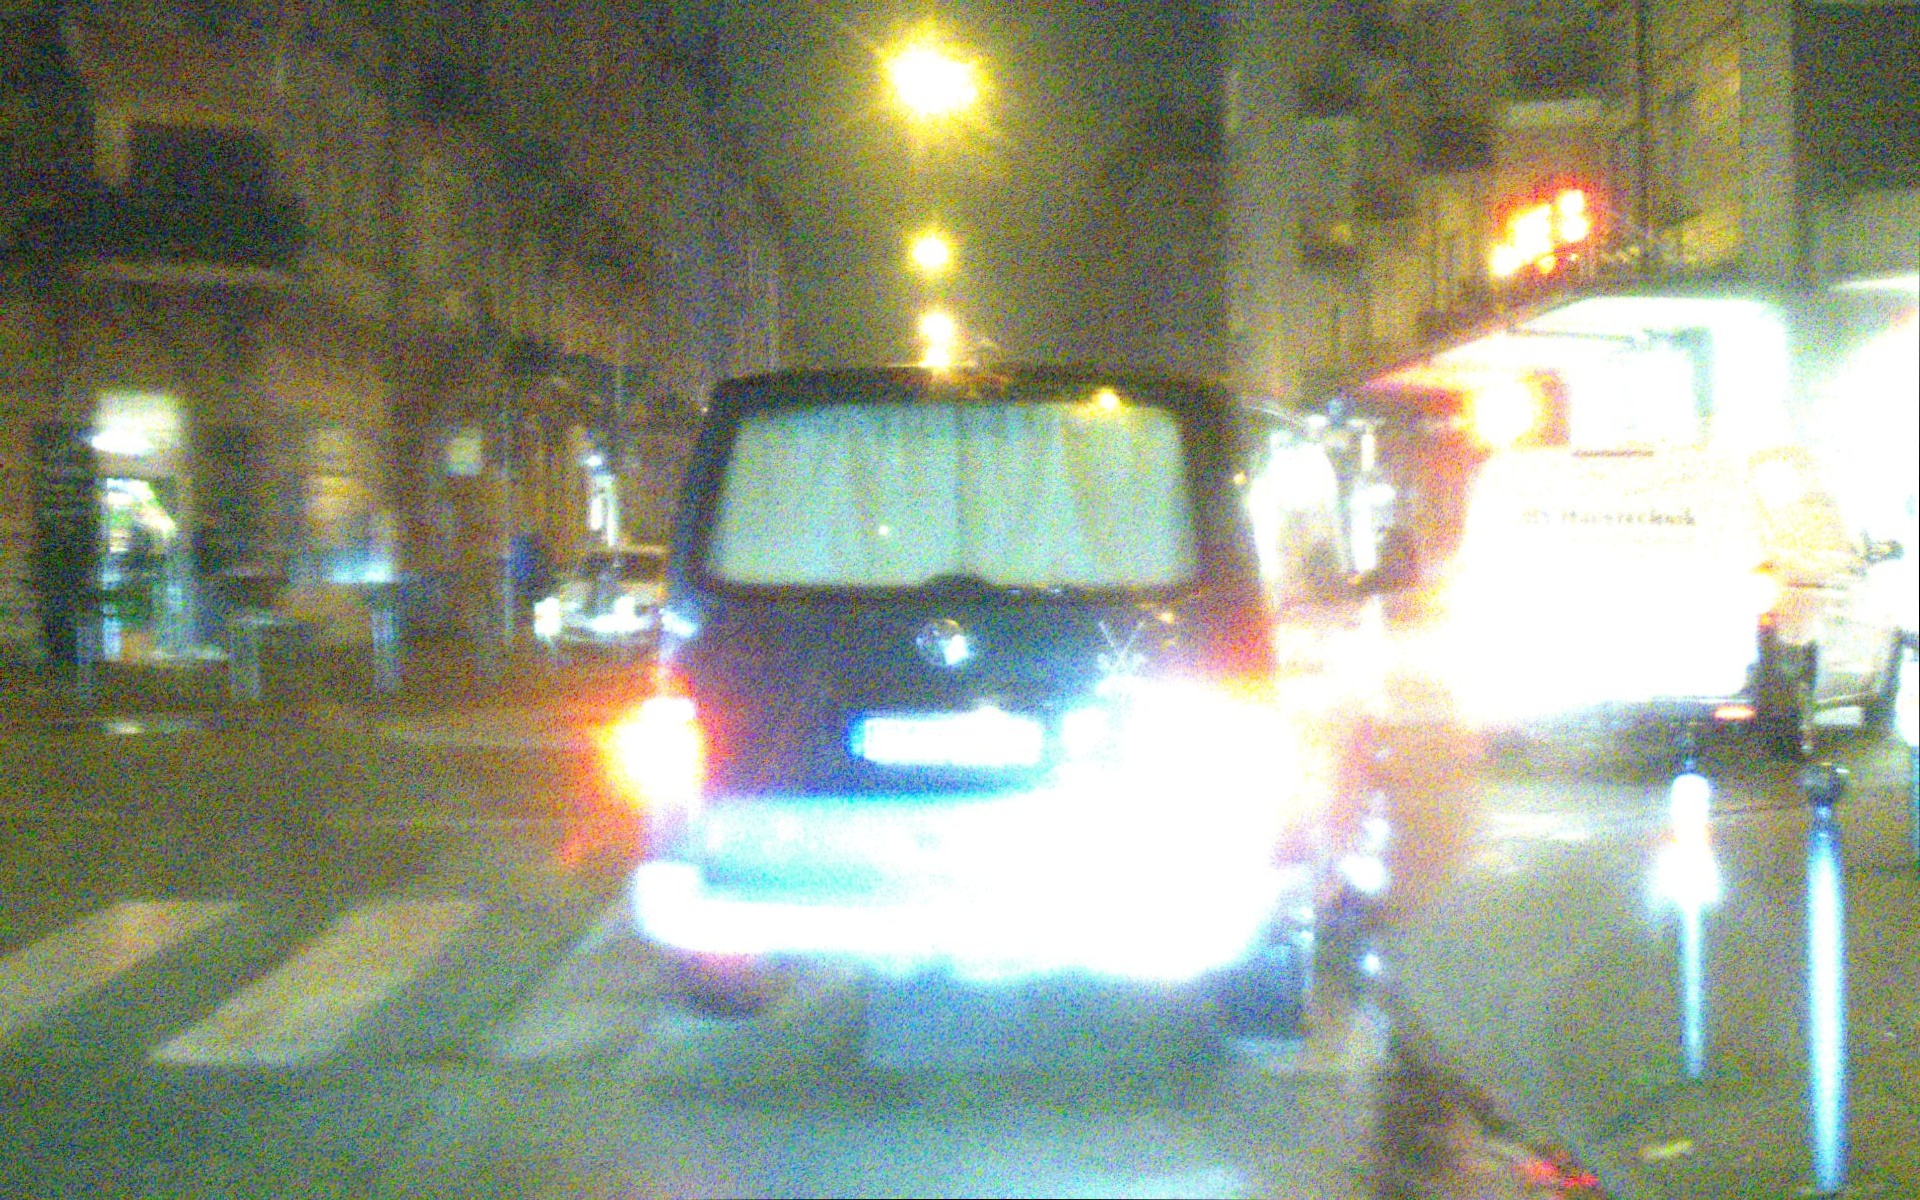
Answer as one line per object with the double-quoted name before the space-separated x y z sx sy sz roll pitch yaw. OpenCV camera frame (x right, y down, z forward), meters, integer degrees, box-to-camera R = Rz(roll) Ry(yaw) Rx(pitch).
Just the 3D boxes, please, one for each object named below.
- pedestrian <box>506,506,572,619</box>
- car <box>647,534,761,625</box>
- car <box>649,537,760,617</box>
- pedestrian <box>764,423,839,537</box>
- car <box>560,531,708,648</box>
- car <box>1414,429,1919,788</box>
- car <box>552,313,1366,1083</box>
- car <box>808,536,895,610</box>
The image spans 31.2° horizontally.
"pedestrian" -6.655 -0.594 54.379 0.804 1.760 1.015 1 0 6
"car" -4.166 -0.359 56.323 1.586 1.444 3.503 0 1 0
"car" -4.617 -0.442 62.613 1.690 1.396 4.317 0 1 0
"pedestrian" -2.544 -1.926 55.318 1.122 1.805 0.715 -1 1 2
"car" -4.439 -0.181 47.226 1.586 1.458 4.024 3 1 0
"car" 4.477 -0.011 20.998 2.125 1.915 4.820 1 1 23
"car" 0.169 0.213 11.233 2.123 1.984 4.600 0 1 5
"car" -2.197 -0.577 70.425 1.563 1.422 4.069 -2 1 1
